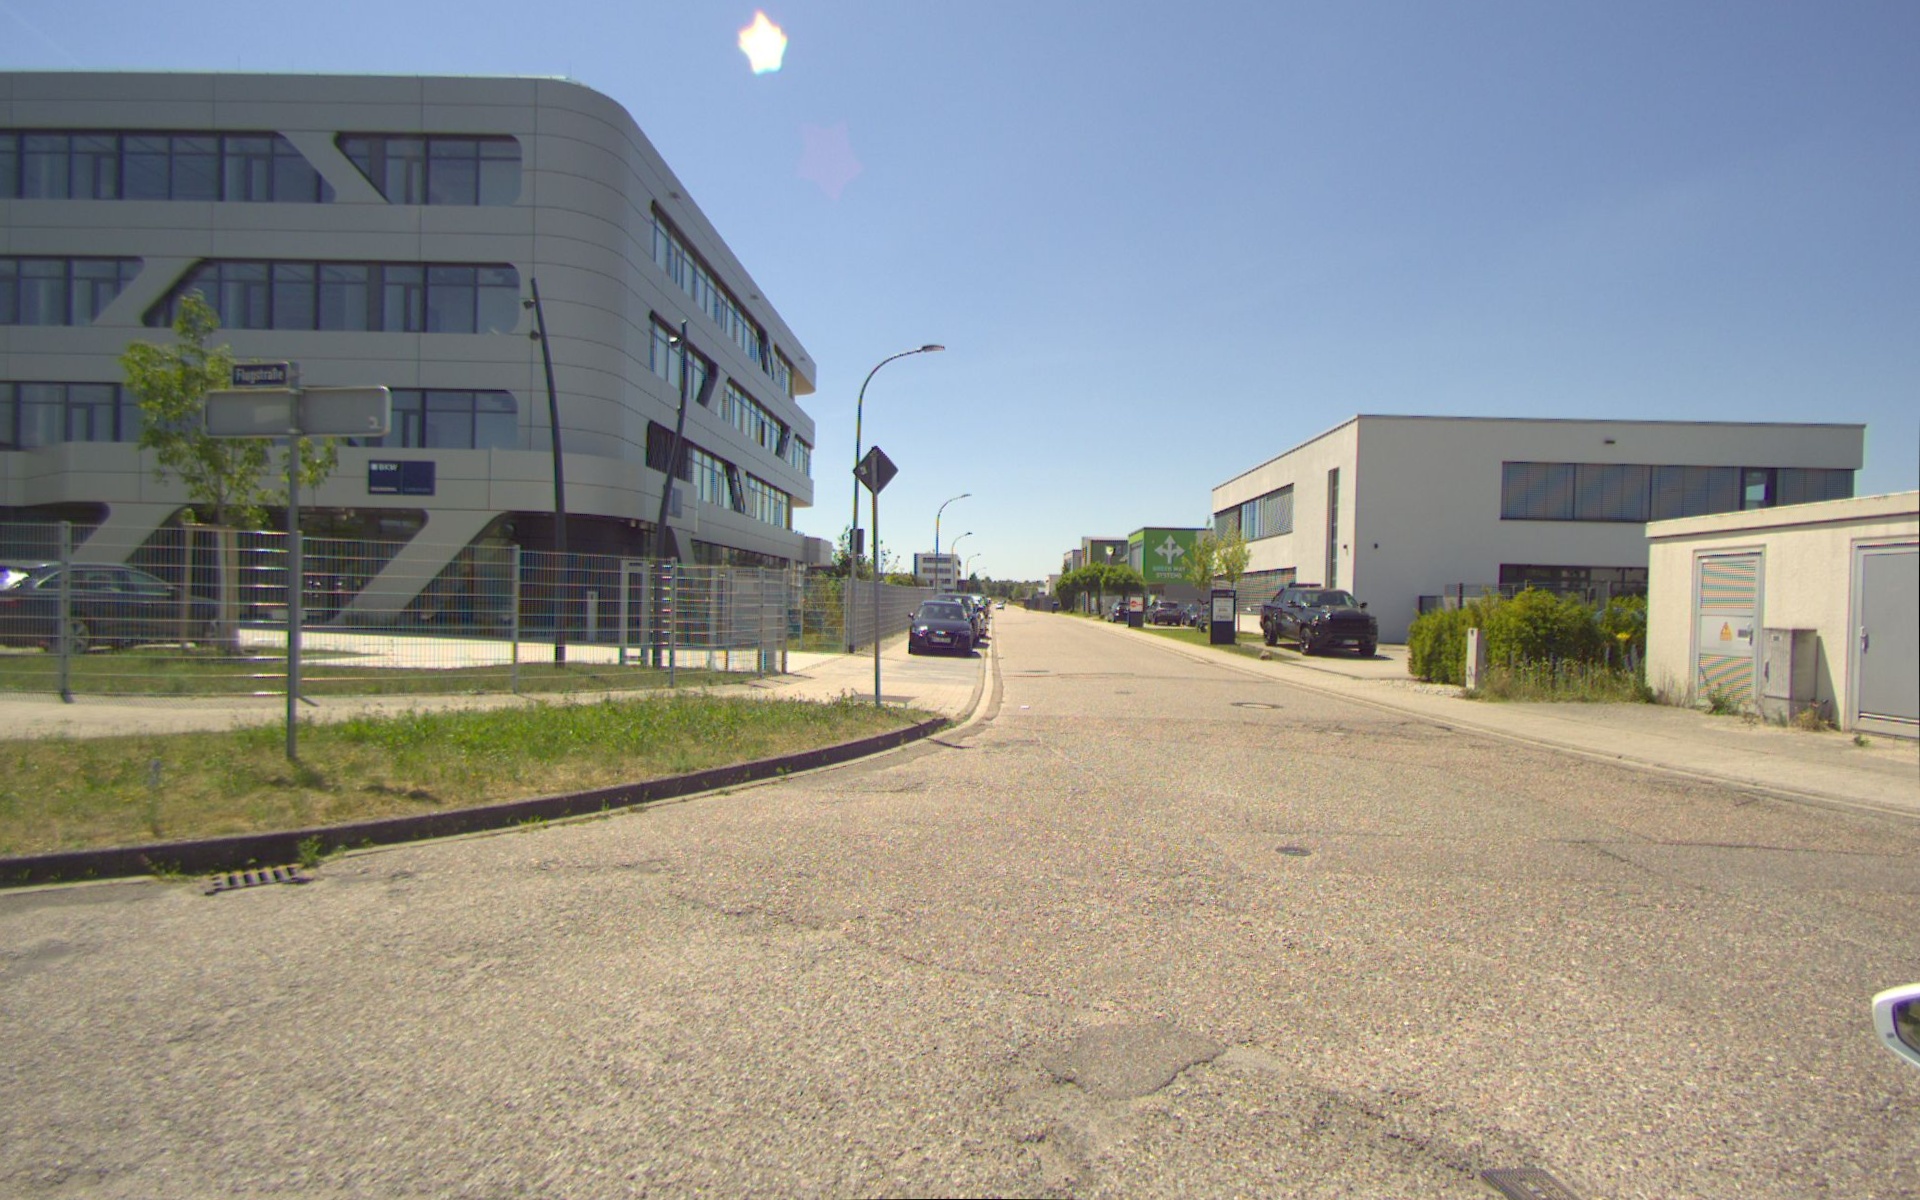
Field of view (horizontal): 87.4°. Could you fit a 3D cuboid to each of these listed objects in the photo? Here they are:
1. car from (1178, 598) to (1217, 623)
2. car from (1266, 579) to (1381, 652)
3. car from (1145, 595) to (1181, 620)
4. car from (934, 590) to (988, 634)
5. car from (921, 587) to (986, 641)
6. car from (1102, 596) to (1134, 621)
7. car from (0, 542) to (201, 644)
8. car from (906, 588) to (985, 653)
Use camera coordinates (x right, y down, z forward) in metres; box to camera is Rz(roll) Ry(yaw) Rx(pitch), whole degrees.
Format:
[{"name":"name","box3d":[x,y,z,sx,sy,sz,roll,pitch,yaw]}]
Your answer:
[{"name":"car","box3d":[15.635,0.675,66.241,1.540,1.573,3.999,1,0,-1]},{"name":"car","box3d":[10.986,0.430,30.665,1.961,2.040,3.999,1,0,-1]},{"name":"car","box3d":[13.447,0.490,66.797,1.540,1.573,3.999,1,0,-1]},{"name":"car","box3d":[0.024,0.466,40.313,1.961,1.560,3.999,4,0,-1]},{"name":"car","box3d":[-0.242,0.439,33.851,1.961,1.560,3.999,4,0,-1]},{"name":"car","box3d":[10.477,0.539,66.956,1.606,1.617,4.001,1,0,2]},{"name":"car","box3d":[-14.036,-0.101,15.672,1.644,1.409,3.491,1,-1,2]},{"name":"car","box3d":[-0.391,0.546,28.179,1.961,1.560,3.999,4,0,-1]}]
